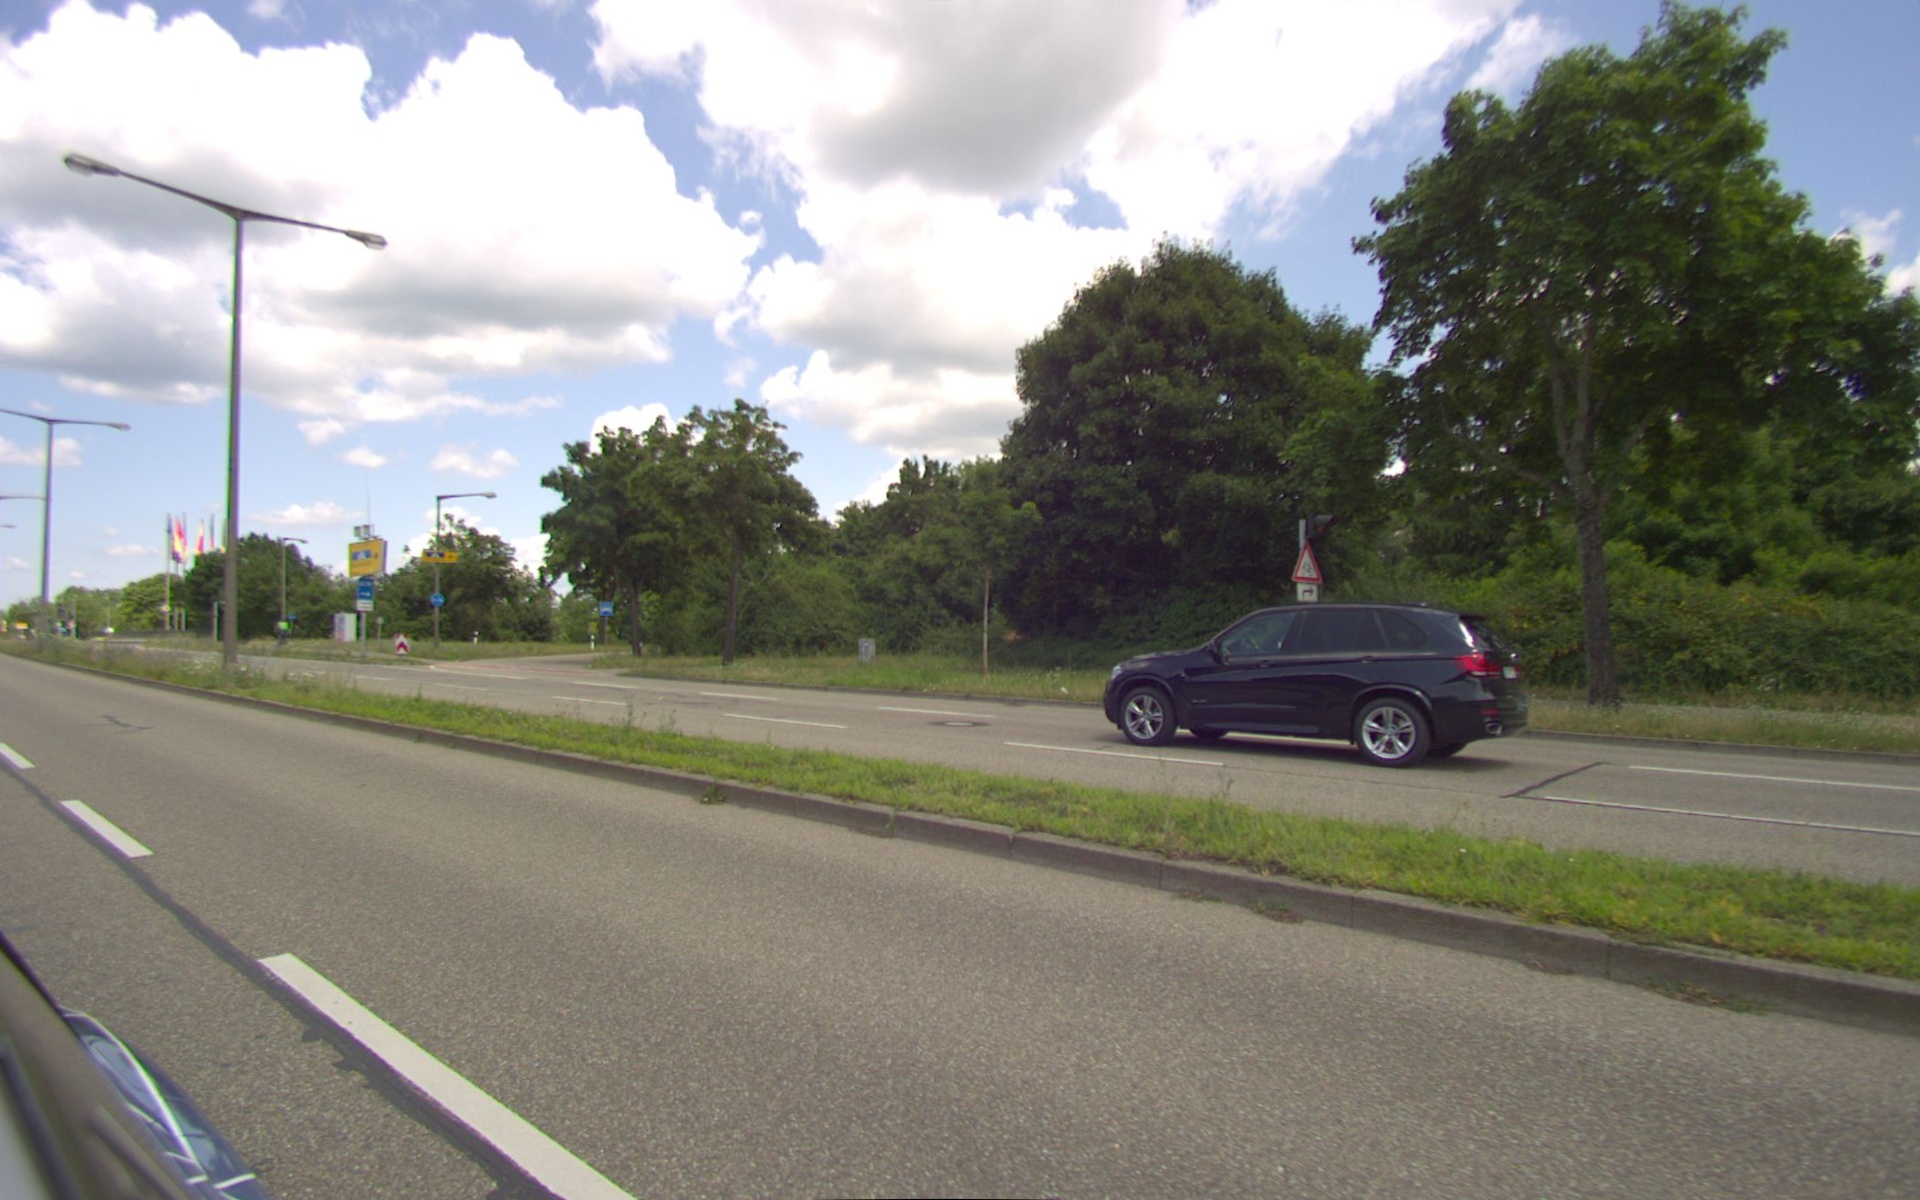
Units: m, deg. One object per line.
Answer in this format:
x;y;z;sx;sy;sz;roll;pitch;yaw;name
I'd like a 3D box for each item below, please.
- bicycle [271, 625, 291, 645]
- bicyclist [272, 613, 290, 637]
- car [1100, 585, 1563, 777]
-38.726;1.994;57.706;1.906;1.076;0.427;-3;-2;40;bicycle
-38.716;1.427;57.698;1.106;1.282;0.515;-3;-2;40;bicyclist
4.149;0.847;11.802;4.725;1.804;1.857;-1;-4;40;car
